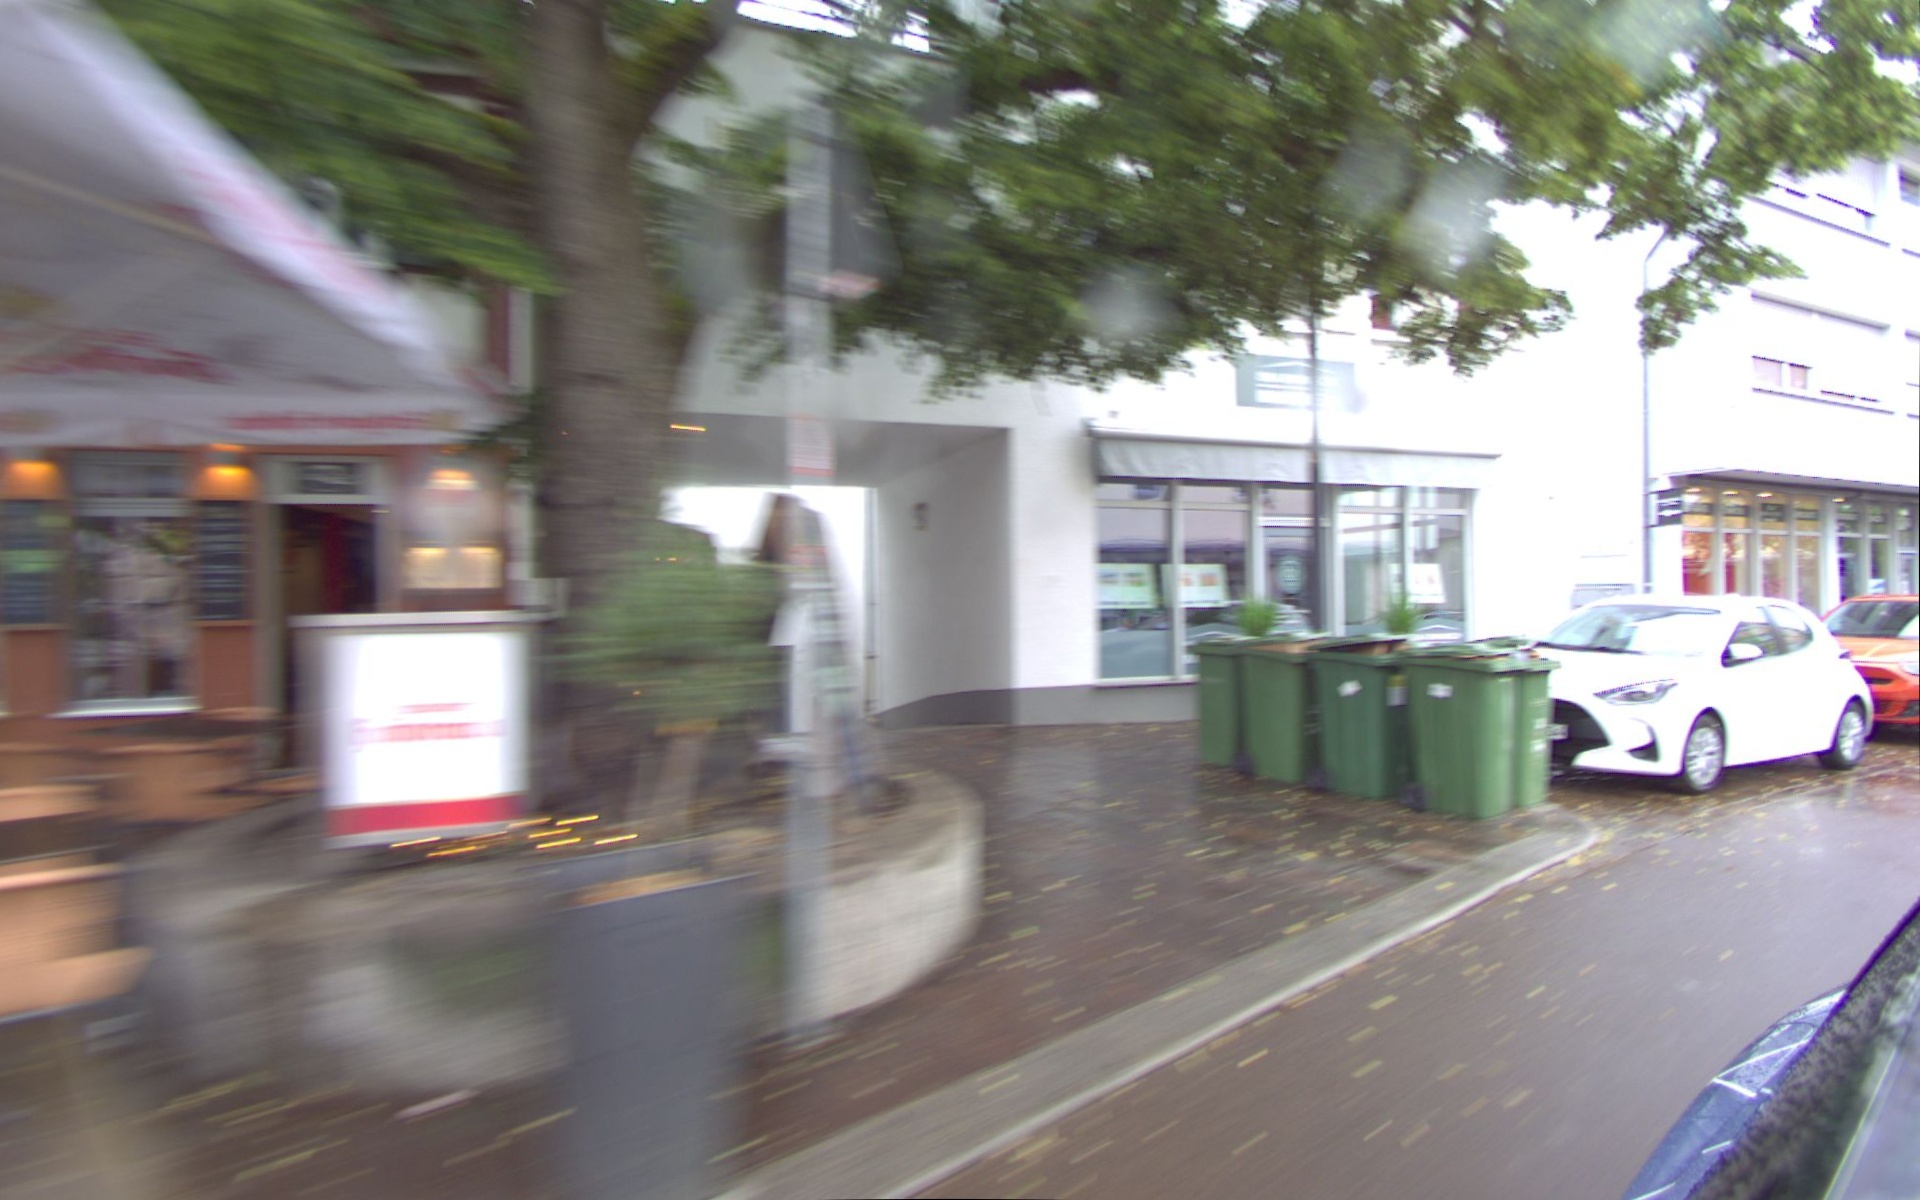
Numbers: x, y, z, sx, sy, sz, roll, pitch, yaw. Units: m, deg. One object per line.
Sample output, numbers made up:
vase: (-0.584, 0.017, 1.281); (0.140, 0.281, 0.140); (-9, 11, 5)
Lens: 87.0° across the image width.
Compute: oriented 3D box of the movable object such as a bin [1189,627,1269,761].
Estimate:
movable object such as a bin: (2.261, 0.767, 8.505); (0.491, 1.060, 0.431); (-1, 0, -37)

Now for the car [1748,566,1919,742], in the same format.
car: (10.739, 0.486, 11.303); (3.878, 1.711, 1.697); (-1, 1, -30)

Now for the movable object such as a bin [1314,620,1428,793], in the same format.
movable object such as a bin: (2.998, 0.744, 7.386); (0.575, 1.164, 0.546); (-1, 0, -37)

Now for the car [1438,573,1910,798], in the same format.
car: (6.303, 0.614, 8.822); (4.314, 1.559, 1.697); (1, 0, -30)

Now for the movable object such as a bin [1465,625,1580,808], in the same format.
movable object such as a bin: (3.862, 0.769, 6.953); (0.491, 1.164, 0.535); (-1, 0, -37)

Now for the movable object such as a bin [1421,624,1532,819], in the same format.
movable object such as a bin: (3.376, 0.762, 6.622); (0.480, 1.183, 0.478); (-1, 0, -37)

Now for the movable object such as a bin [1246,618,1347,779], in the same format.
movable object such as a bin: (2.610, 0.734, 7.856); (0.570, 1.164, 0.504); (-1, 0, -37)

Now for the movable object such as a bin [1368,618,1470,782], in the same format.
movable object such as a bin: (3.498, 0.734, 7.714); (0.491, 1.164, 0.531); (-1, 0, -37)
